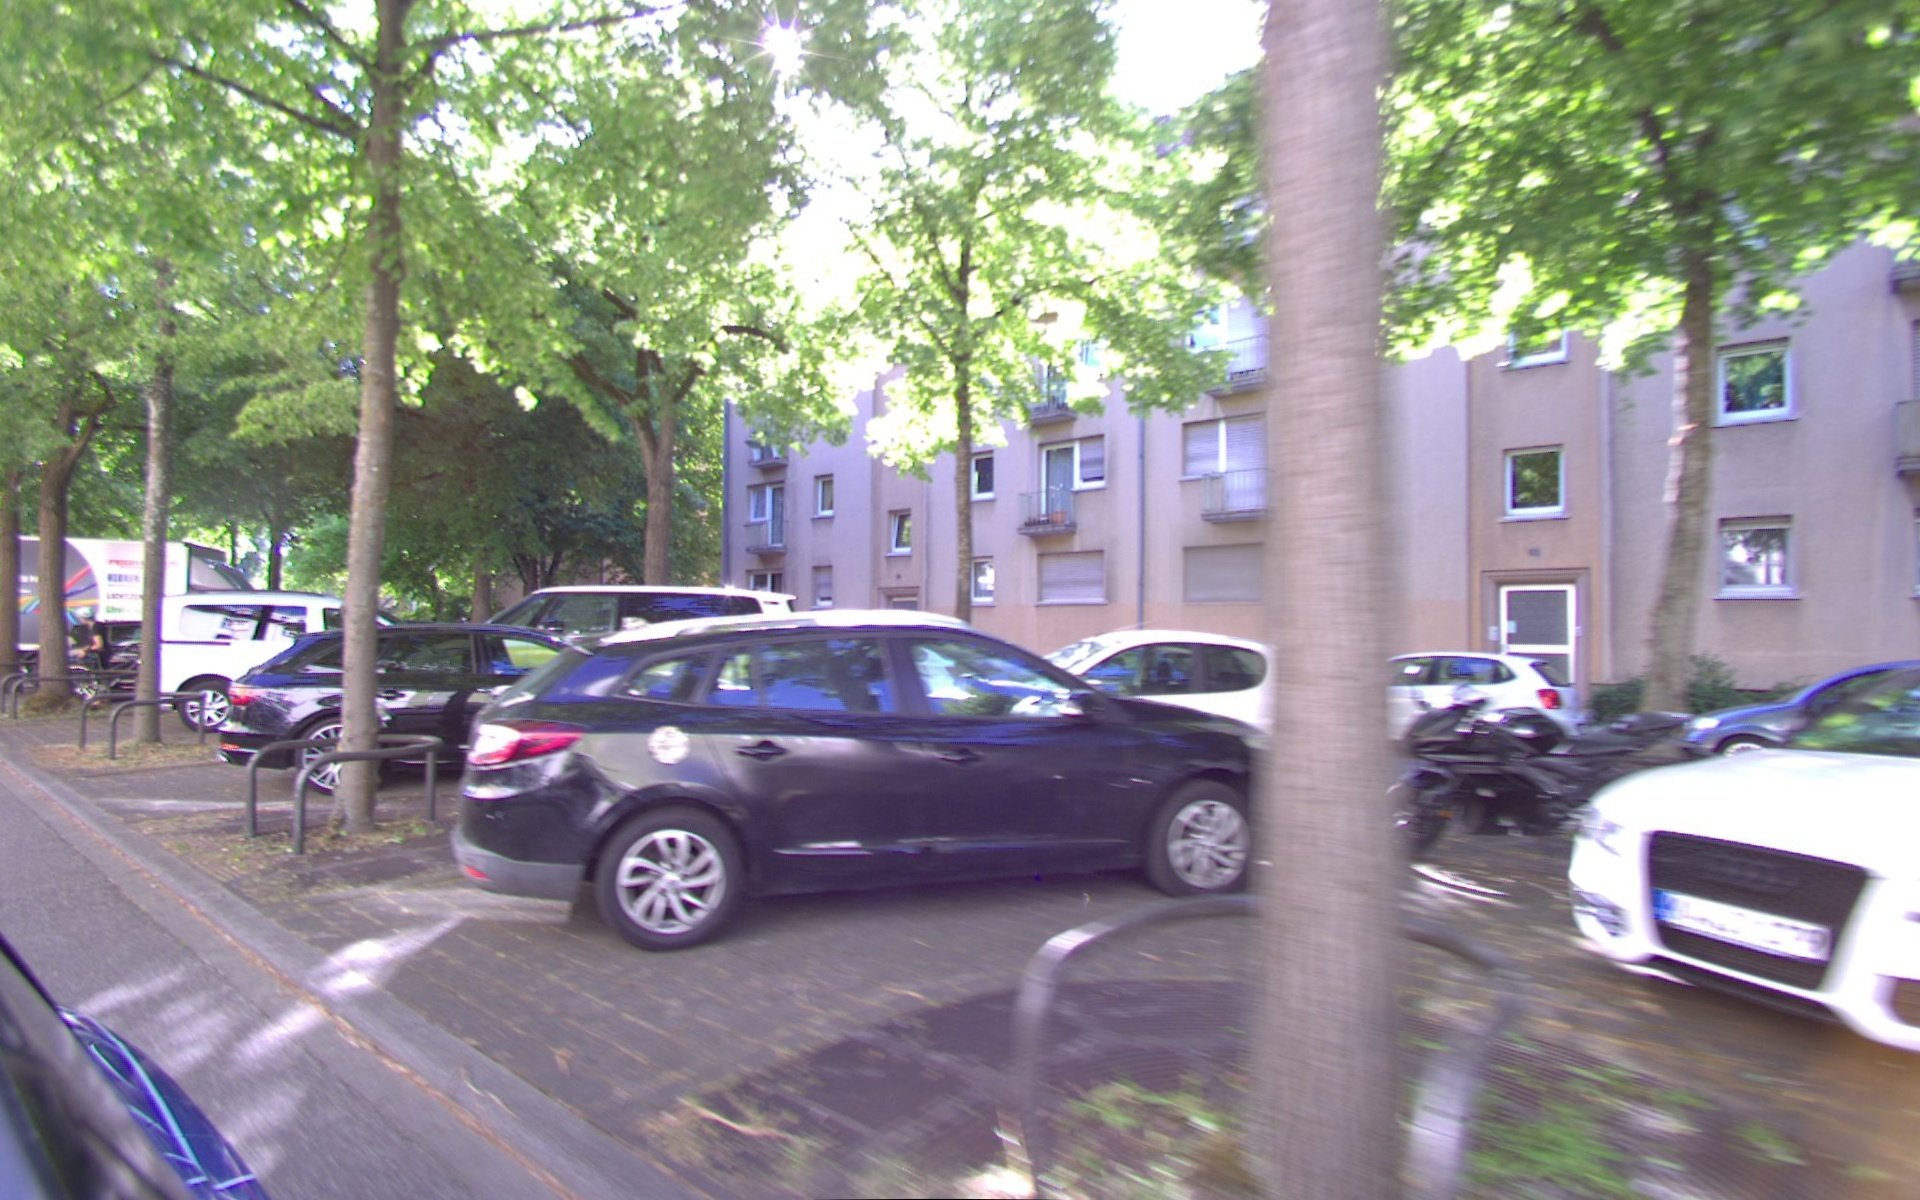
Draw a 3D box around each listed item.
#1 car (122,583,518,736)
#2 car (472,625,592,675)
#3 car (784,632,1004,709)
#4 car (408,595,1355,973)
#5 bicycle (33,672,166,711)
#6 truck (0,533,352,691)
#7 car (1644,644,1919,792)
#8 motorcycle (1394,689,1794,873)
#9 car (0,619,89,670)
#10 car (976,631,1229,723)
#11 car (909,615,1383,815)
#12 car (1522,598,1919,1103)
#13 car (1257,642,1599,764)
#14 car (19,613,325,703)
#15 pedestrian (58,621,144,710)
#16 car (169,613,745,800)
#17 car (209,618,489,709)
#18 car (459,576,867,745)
[{"bbox_3d":[-8.684,0.762,14.300,4.445,1.879,2.088,0,-1,-24],"label":"car"},{"bbox_3d":[-13.382,1.515,31.512,4.342,1.446,1.745,-1,-2,42],"label":"car"},{"bbox_3d":[-1.443,1.391,20.911,4.612,1.403,1.710,-1,-3,39],"label":"car"},{"bbox_3d":[-0.311,0.744,5.391,4.348,1.473,1.721,0,-1,-17],"label":"car"},{"bbox_3d":[-13.778,1.459,16.240,1.586,0.563,0.411,1,-2,-18],"label":"bicycle"},{"bbox_3d":[-18.398,0.334,23.188,7.200,3.319,2.554,1,-2,-18],"label":"truck"},{"bbox_3d":[9.991,1.226,11.034,3.998,1.428,1.872,-1,-2,41],"label":"car"},{"bbox_3d":[3.682,1.038,6.006,1.893,0.964,0.689,0,-2,3],"label":"motorcycle"},{"bbox_3d":[-33.119,1.555,34.925,4.262,1.684,1.843,-1,-1,-19],"label":"car"},{"bbox_3d":[2.406,1.261,17.570,3.998,1.398,1.872,-1,-3,41],"label":"car"},{"bbox_3d":[1.477,0.884,8.722,3.573,1.466,1.822,0,-2,-12],"label":"car"},{"bbox_3d":[4.491,0.692,3.837,3.973,1.413,1.829,-1,0,-17],"label":"car"},{"bbox_3d":[6.452,1.320,14.192,3.998,1.398,1.872,-1,-2,41],"label":"car"},{"bbox_3d":[-14.158,1.000,18.458,4.038,1.518,1.738,0,-1,-17],"label":"car"},{"bbox_3d":[-14.077,1.061,16.614,0.740,1.407,0.931,1,-2,-17],"label":"pedestrian"},{"bbox_3d":[-4.341,0.878,9.432,4.413,1.466,1.793,1,-2,-17],"label":"car"},{"bbox_3d":[-10.136,1.013,17.073,3.737,1.417,1.628,0,-1,-15],"label":"car"},{"bbox_3d":[-3.648,0.728,12.749,4.526,1.846,2.025,1,-2,-20],"label":"car"}]
